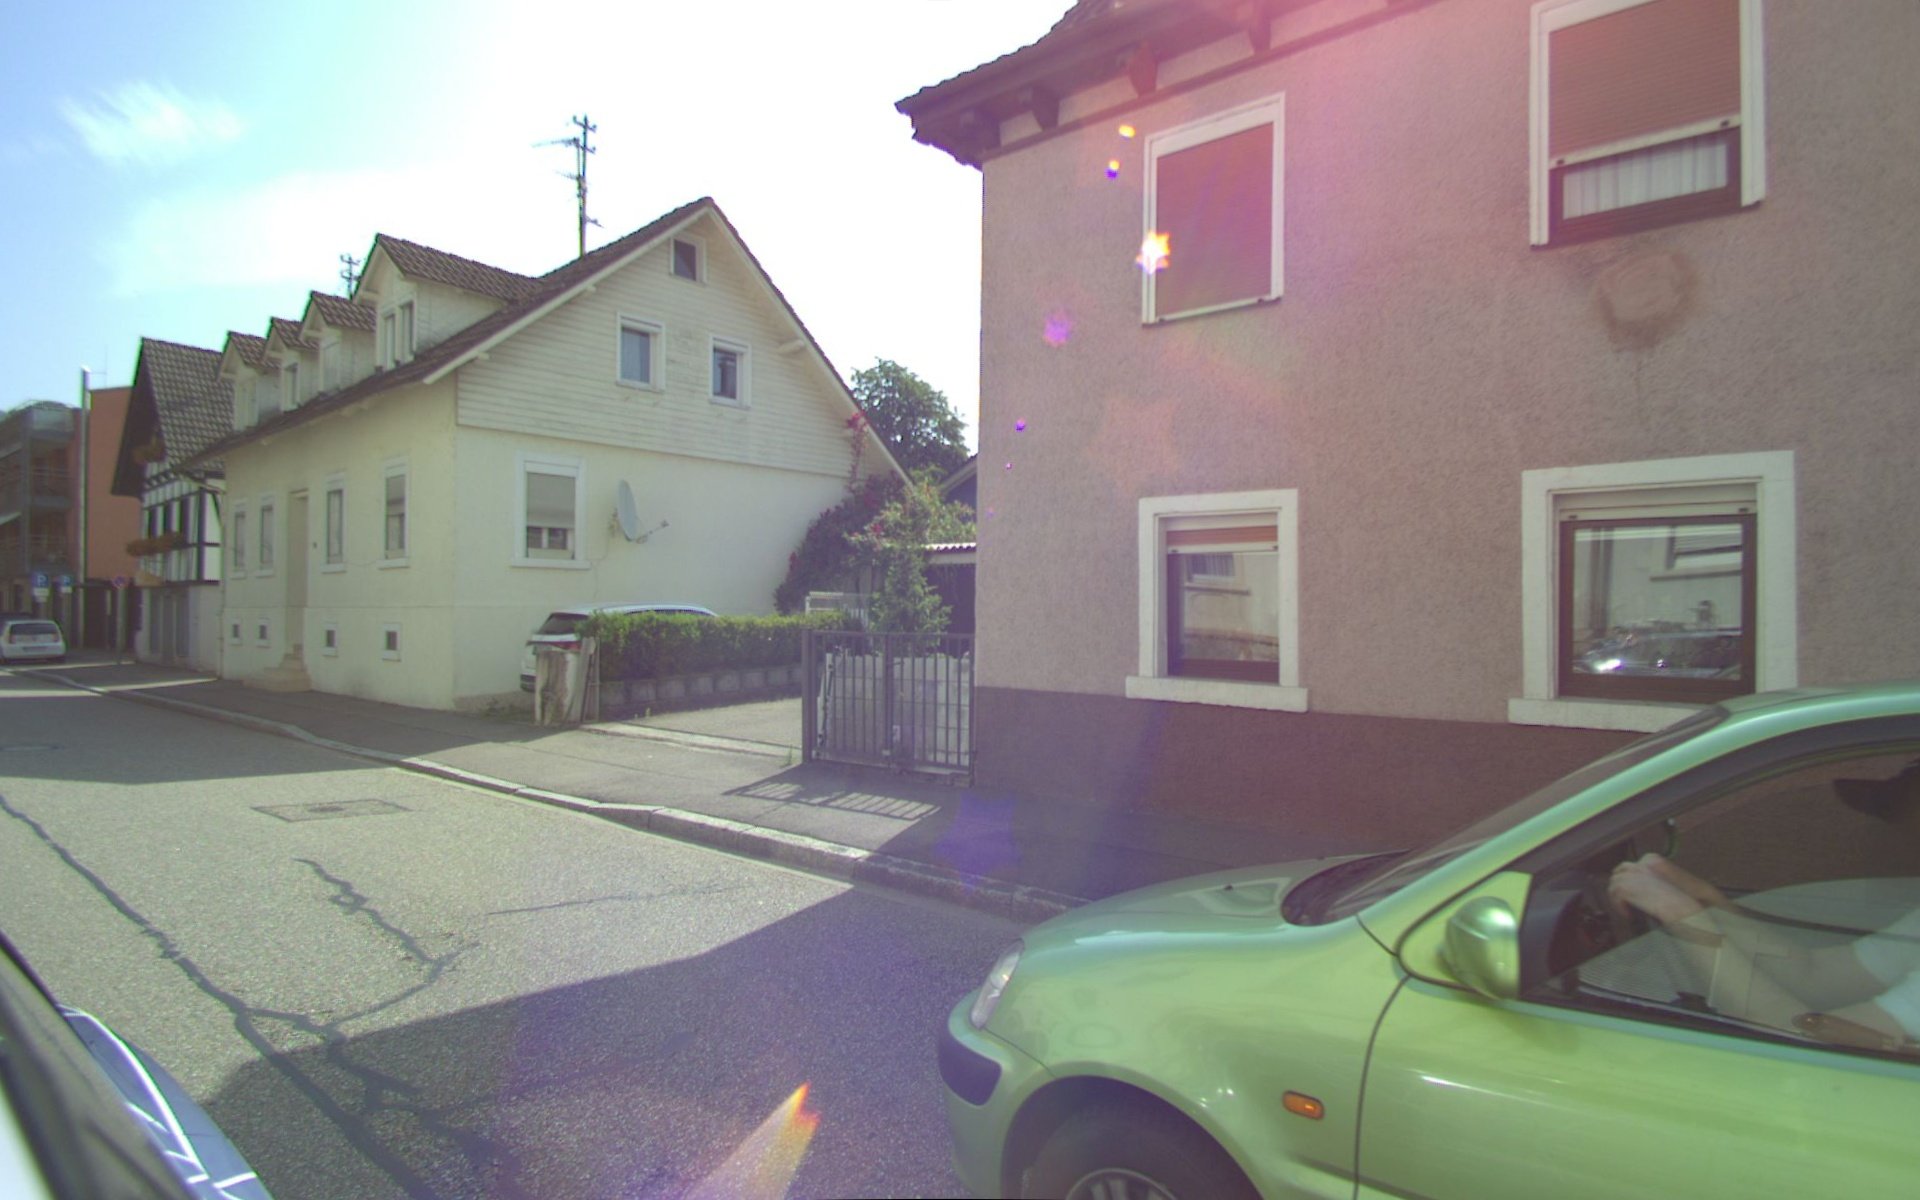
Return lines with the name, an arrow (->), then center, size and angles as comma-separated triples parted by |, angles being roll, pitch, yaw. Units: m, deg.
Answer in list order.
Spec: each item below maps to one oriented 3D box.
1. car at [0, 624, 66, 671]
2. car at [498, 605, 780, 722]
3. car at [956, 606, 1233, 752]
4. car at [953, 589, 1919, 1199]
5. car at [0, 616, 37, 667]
car -> -31.554, 1.573, 34.125 | 3.566, 1.443, 1.649 | -2, -1, 41
car -> -5.018, 0.906, 16.251 | 1.904, 1.606, 3.949 | -1, -1, 38
car -> 1.733, 0.805, 12.019 | 1.643, 1.403, 3.716 | -1, 0, 37
car -> 1.889, 0.772, 1.551 | 3.657, 1.475, 1.580 | -1, -5, 41
car -> -35.580, 1.493, 37.220 | 4.263, 1.810, 1.704 | -1, -2, 38
